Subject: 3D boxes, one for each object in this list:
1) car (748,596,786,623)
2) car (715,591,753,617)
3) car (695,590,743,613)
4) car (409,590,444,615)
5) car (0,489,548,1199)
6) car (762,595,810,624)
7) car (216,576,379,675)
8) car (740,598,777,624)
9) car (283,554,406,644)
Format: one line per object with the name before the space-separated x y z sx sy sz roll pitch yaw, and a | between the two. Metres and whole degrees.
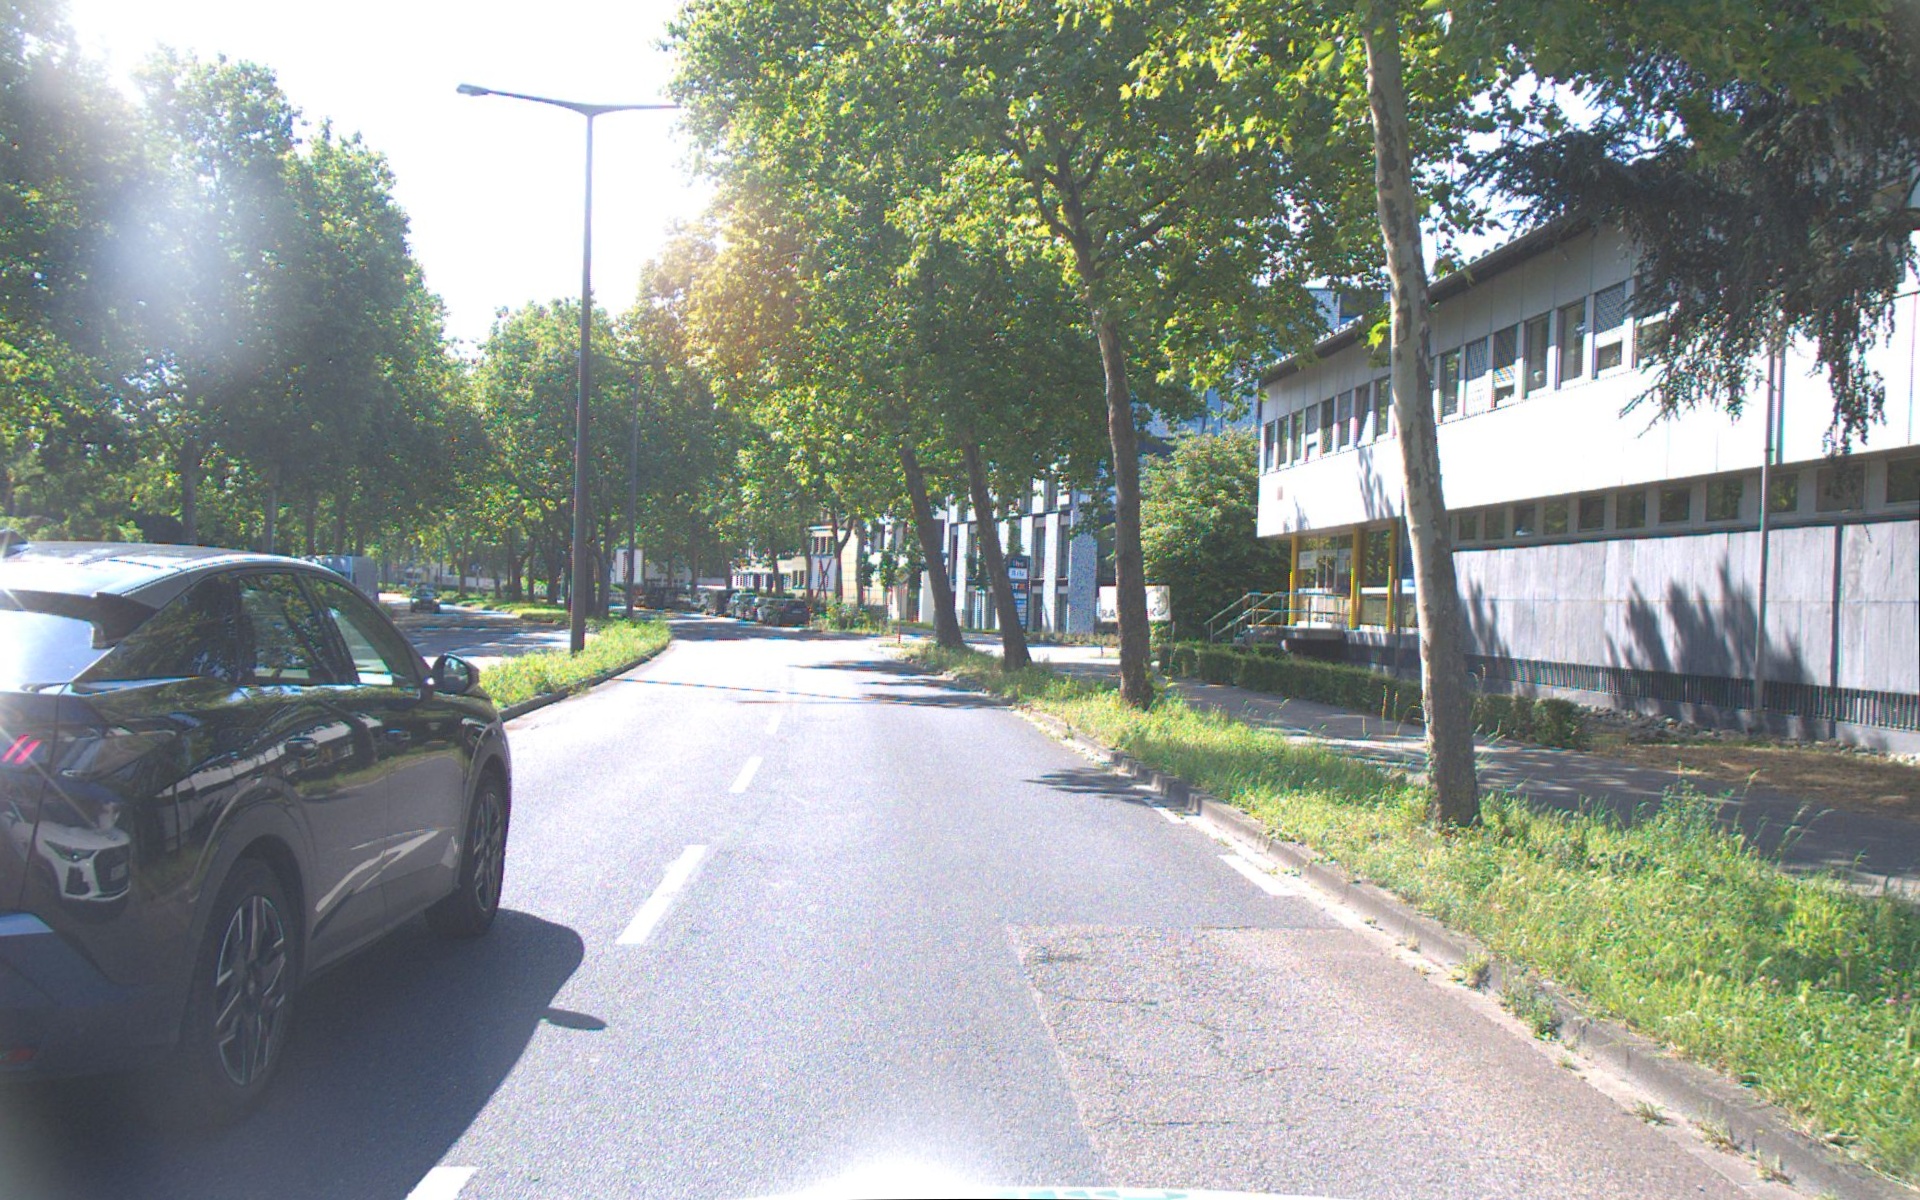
car | -11.250 0.531 96.176 1.678 1.514 4.085 2 0 -14
car | -15.503 0.276 113.129 1.681 1.698 4.509 2 0 -19
car | -19.262 0.125 132.204 3.503 1.668 1.648 2 0 -22
car | -35.293 0.149 109.448 1.763 1.583 4.382 1 0 -12
car | -2.858 0.593 5.894 1.835 1.726 4.433 0 0 -3
car | -9.568 0.491 90.892 1.680 1.514 4.695 1 0 -18
car | -13.540 0.490 34.127 1.652 1.871 4.990 1 0 -4
car | -12.394 0.641 101.405 1.678 1.480 4.638 2 0 -14
car | -19.541 0.002 52.885 2.021 2.659 7.206 1 0 -7
